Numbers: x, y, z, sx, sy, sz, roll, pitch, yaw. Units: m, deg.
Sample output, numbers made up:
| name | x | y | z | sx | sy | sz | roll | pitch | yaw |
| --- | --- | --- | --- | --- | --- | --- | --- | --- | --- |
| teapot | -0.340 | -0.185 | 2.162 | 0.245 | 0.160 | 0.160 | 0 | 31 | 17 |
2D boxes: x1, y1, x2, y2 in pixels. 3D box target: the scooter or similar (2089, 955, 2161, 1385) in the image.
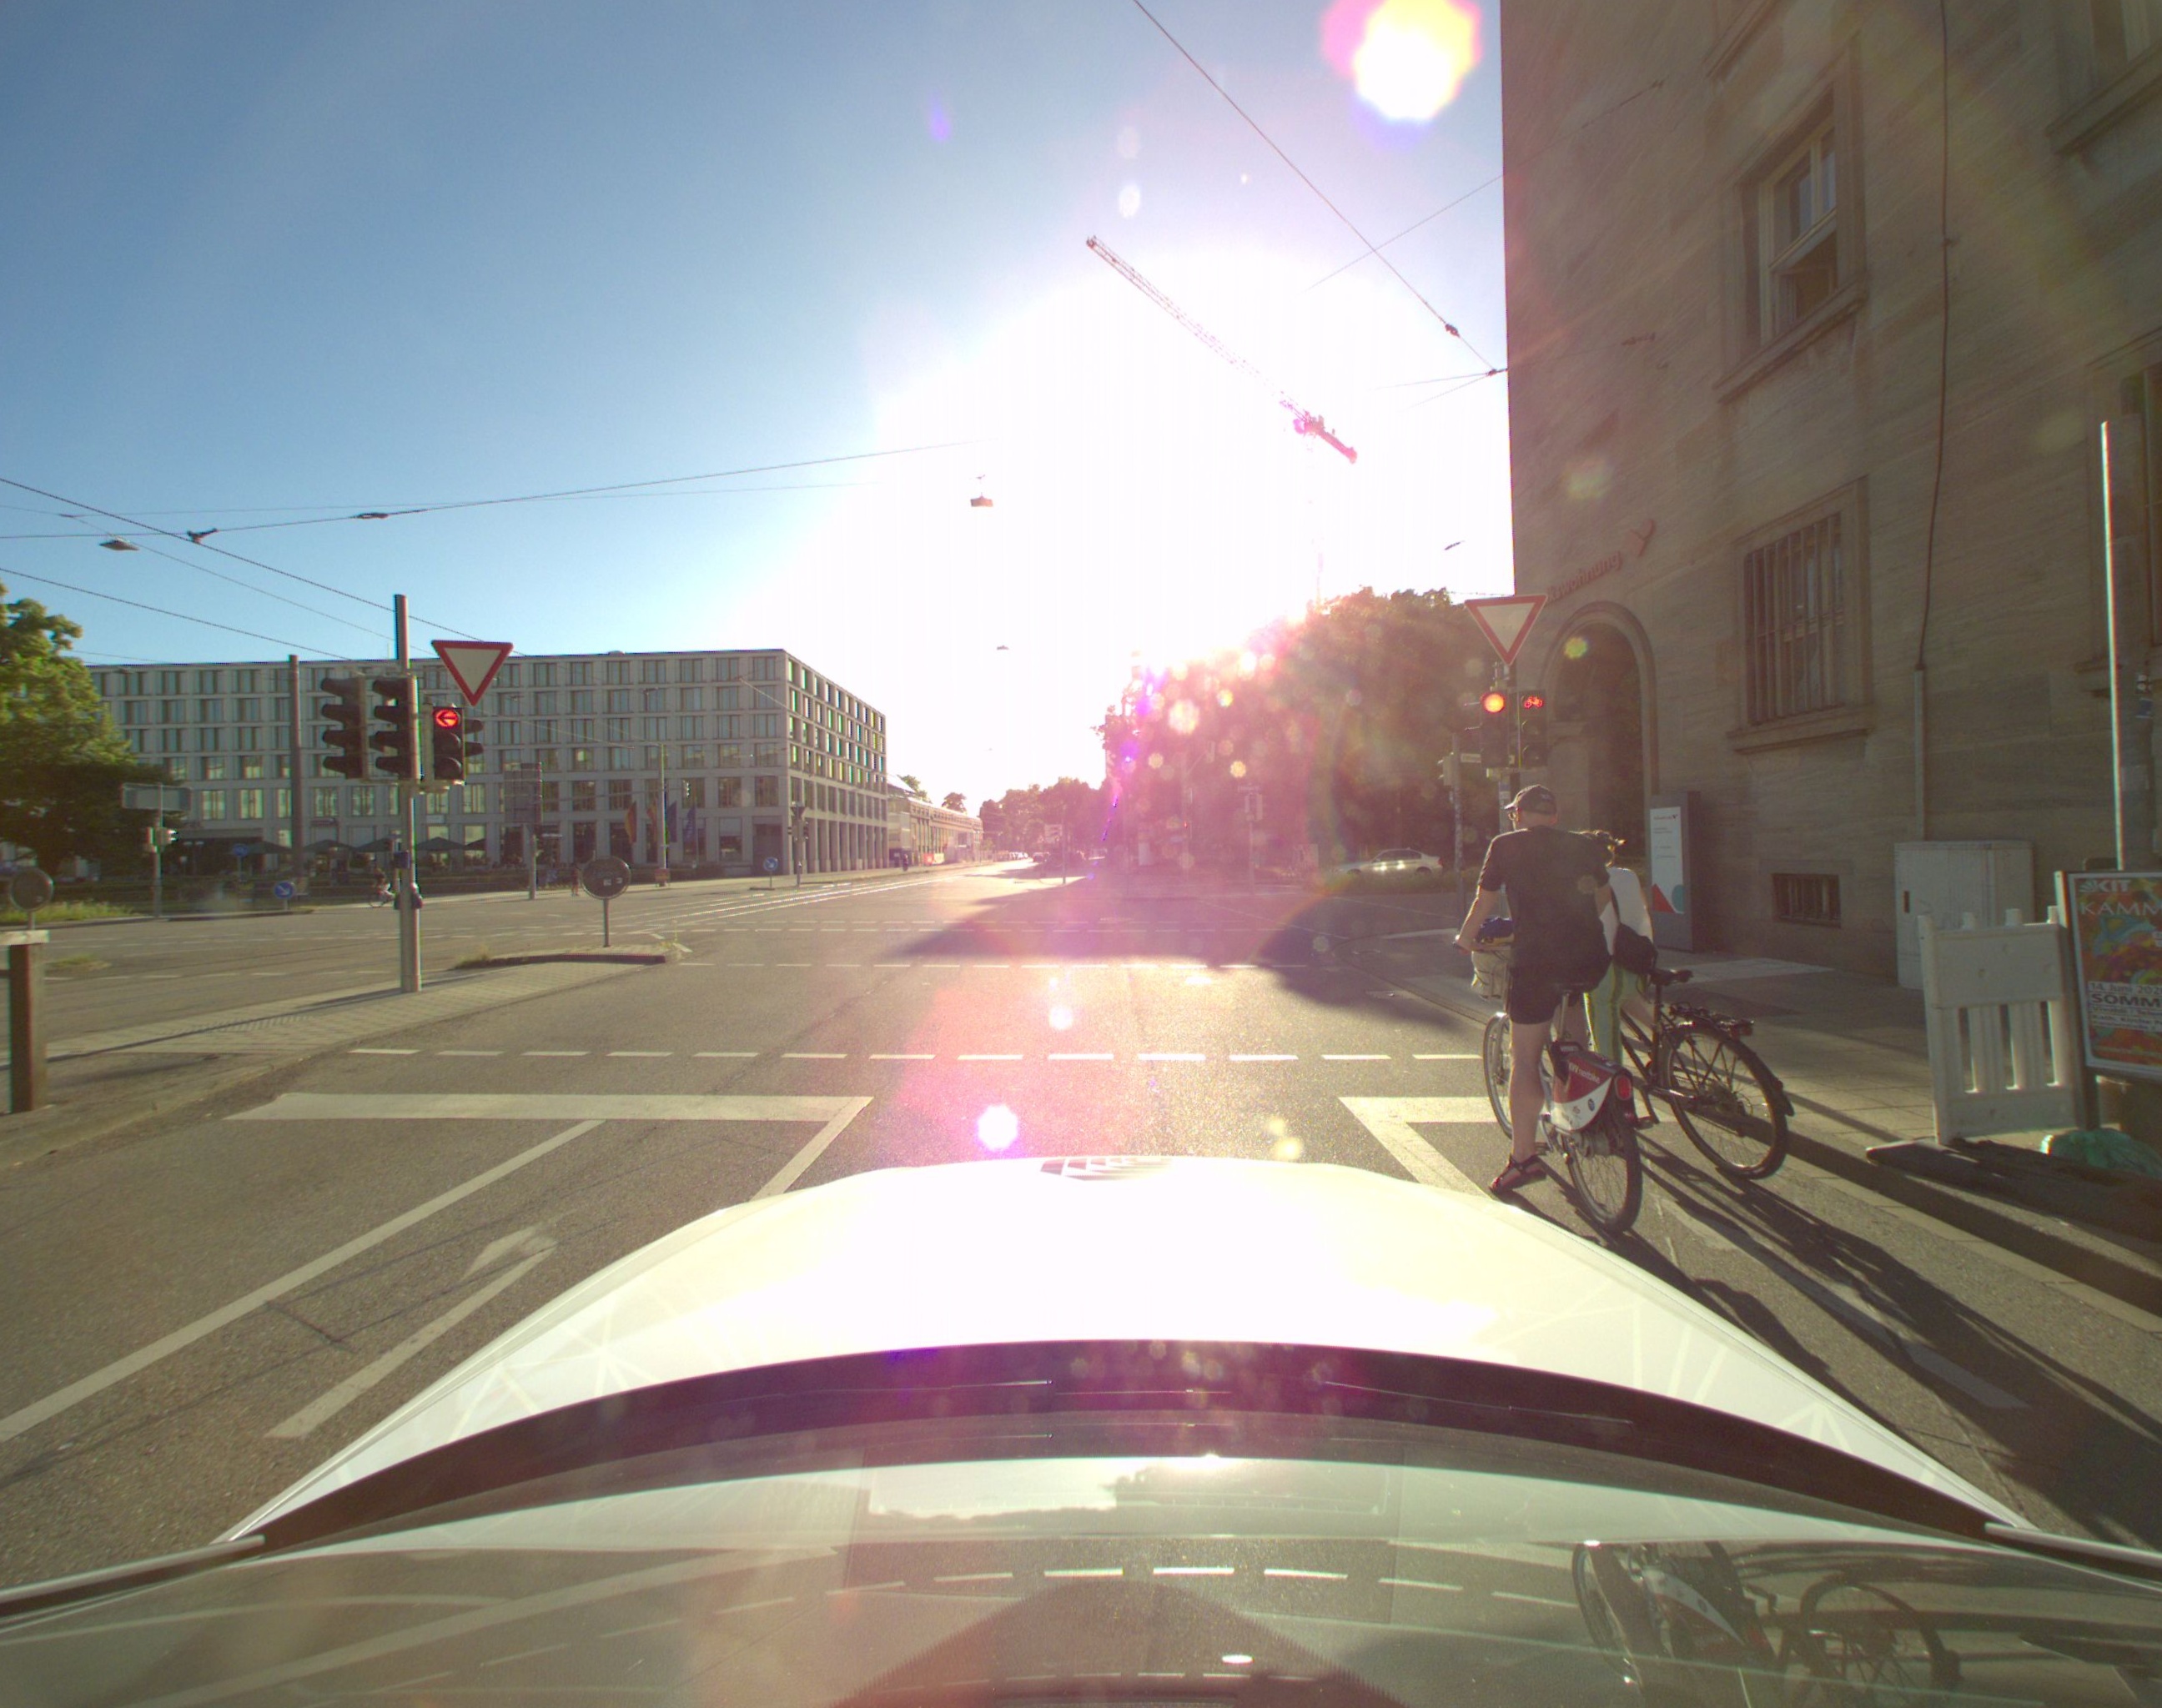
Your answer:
| name | x | y | z | sx | sy | sz | roll | pitch | yaw |
| --- | --- | --- | --- | --- | --- | --- | --- | --- | --- |
| scooter or similar | 3.279 | 0.894 | 1.763 | 0.533 | 1.185 | 1.328 | -2 | 0 | 1 |

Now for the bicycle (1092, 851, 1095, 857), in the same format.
| name | x | y | z | sx | sy | sz | roll | pitch | yaw |
| --- | --- | --- | --- | --- | --- | --- | --- | --- | --- |
| bicycle | 2.620 | -0.009 | 167.016 | 0.573 | 1.077 | 1.831 | -2 | 0 | 1 |

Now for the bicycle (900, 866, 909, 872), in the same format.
| name | x | y | z | sx | sy | sz | roll | pitch | yaw |
| --- | --- | --- | --- | --- | --- | --- | --- | --- | --- |
| bicycle | -16.035 | 1.377 | 73.831 | 0.499 | 0.515 | 1.258 | 0 | -1 | 1 |

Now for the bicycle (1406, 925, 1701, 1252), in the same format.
| name | x | y | z | sx | sy | sz | roll | pitch | yaw |
| --- | --- | --- | --- | --- | --- | --- | --- | --- | --- |
| bicycle | 2.126 | 0.960 | 3.939 | 0.513 | 1.077 | 1.729 | -1 | 0 | 4 |

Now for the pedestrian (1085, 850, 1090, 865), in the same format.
| name | x | y | z | sx | sy | sz | roll | pitch | yaw |
| --- | --- | --- | --- | --- | --- | --- | --- | --- | --- |
| pedestrian | 0.788 | 0.440 | 97.779 | 0.462 | 1.813 | 0.502 | -2 | 0 | -3 |

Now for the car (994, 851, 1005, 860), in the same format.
| name | x | y | z | sx | sy | sz | roll | pitch | yaw |
| --- | --- | --- | --- | --- | --- | --- | --- | --- | --- |
| car | -15.663 | 0.258 | 157.075 | 1.688 | 1.718 | 4.245 | 0 | -1 | -1 |

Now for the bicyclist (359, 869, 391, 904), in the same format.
| name | x | y | z | sx | sy | sz | roll | pitch | yaw |
| --- | --- | --- | --- | --- | --- | --- | --- | --- | --- |
| bicyclist | -32.789 | 1.488 | 37.827 | 0.754 | 1.589 | 0.780 | -2 | 0 | 12 |

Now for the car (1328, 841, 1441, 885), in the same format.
| name | x | y | z | sx | sy | sz | roll | pitch | yaw |
| --- | --- | --- | --- | --- | --- | --- | --- | --- | --- |
| car | 12.351 | 0.354 | 33.258 | 3.979 | 1.611 | 1.650 | -2 | 0 | 1 |

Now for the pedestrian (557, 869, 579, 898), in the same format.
| name | x | y | z | sx | sy | sz | roll | pitch | yaw |
| --- | --- | --- | --- | --- | --- | --- | --- | --- | --- |
| pedestrian | -28.712 | 1.641 | 45.582 | 0.772 | 1.589 | 0.591 | -2 | 0 | 1 |

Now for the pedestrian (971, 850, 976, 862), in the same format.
| name | x | y | z | sx | sy | sz | roll | pitch | yaw |
| --- | --- | --- | --- | --- | --- | --- | --- | --- | --- |
| pedestrian | -19.077 | 0.380 | 144.394 | 0.672 | 2.014 | 0.751 | 0 | -1 | -1 |

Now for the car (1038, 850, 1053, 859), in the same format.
| name | x | y | z | sx | sy | sz | roll | pitch | yaw |
| --- | --- | --- | --- | --- | --- | --- | --- | --- | --- |
| car | -6.296 | 0.078 | 143.402 | 1.882 | 1.565 | 4.815 | 1 | 0 | 6 |

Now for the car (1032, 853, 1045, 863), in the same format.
| name | x | y | z | sx | sy | sz | roll | pitch | yaw |
| --- | --- | --- | --- | --- | --- | --- | --- | --- | --- |
| car | -6.461 | 0.540 | 123.978 | 1.654 | 1.455 | 4.433 | -1 | 0 | 1 |

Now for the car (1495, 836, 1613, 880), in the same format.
| name | x | y | z | sx | sy | sz | roll | pitch | yaw |
| --- | --- | --- | --- | --- | --- | --- | --- | --- | --- |
| car | 19.138 | 0.148 | 33.060 | 3.835 | 1.611 | 1.650 | -2 | 0 | 1 |

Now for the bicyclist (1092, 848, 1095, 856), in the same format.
| name | x | y | z | sx | sy | sz | roll | pitch | yaw |
| --- | --- | --- | --- | --- | --- | --- | --- | --- | --- |
| bicyclist | 2.603 | -0.440 | 167.018 | 0.567 | 1.691 | 0.700 | -2 | 0 | 1 |

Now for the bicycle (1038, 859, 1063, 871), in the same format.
| name | x | y | z | sx | sy | sz | roll | pitch | yaw |
| --- | --- | --- | --- | --- | --- | --- | --- | --- | --- |
| bicycle | -2.567 | 0.905 | 67.707 | 1.996 | 0.891 | 0.655 | -4 | -1 | 29 |

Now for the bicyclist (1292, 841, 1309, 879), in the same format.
| name | x | y | z | sx | sy | sz | roll | pitch | yaw |
| --- | --- | --- | --- | --- | --- | --- | --- | --- | --- |
| bicyclist | 9.742 | 0.257 | 36.193 | 0.640 | 1.683 | 0.508 | -2 | 0 | 7 |

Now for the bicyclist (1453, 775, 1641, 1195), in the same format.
| name | x | y | z | sx | sy | sz | roll | pitch | yaw |
| --- | --- | --- | --- | --- | --- | --- | --- | --- | --- |
| bicyclist | 2.128 | 0.564 | 3.782 | 0.556 | 1.799 | 0.551 | -1 | 0 | 3 |

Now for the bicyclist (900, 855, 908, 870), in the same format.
| name | x | y | z | sx | sy | sz | roll | pitch | yaw |
| --- | --- | --- | --- | --- | --- | --- | --- | --- | --- |
| bicyclist | -16.048 | 0.791 | 73.849 | 0.594 | 1.377 | 0.638 | 0 | -1 | 1 |

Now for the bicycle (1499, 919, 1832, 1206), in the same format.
| name | x | y | z | sx | sy | sz | roll | pitch | yaw |
| --- | --- | --- | --- | --- | --- | --- | --- | --- | --- |
| bicycle | 2.948 | 0.961 | 4.356 | 0.532 | 1.077 | 1.751 | -1 | 0 | 1 |

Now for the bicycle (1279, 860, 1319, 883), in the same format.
| name | x | y | z | sx | sy | sz | roll | pitch | yaw |
| --- | --- | --- | --- | --- | --- | --- | --- | --- | --- |
| bicycle | 9.685 | 0.760 | 36.201 | 1.657 | 0.963 | 0.535 | -2 | 0 | 7 |

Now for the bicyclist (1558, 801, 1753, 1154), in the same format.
| name | x | y | z | sx | sy | sz | roll | pitch | yaw |
| --- | --- | --- | --- | --- | --- | --- | --- | --- | --- |
| bicyclist | 2.959 | 0.594 | 4.249 | 0.556 | 1.691 | 0.640 | -1 | 0 | 0 |

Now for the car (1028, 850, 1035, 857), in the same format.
| name | x | y | z | sx | sy | sz | roll | pitch | yaw |
| --- | --- | --- | --- | --- | --- | --- | --- | --- | --- |
| car | -12.885 | -0.059 | 212.267 | 1.688 | 1.718 | 4.245 | 0 | -1 | -1 |

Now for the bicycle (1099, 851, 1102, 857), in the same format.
| name | x | y | z | sx | sy | sz | roll | pitch | yaw |
| --- | --- | --- | --- | --- | --- | --- | --- | --- | --- |
| bicycle | 3.950 | -0.018 | 167.557 | 0.573 | 1.077 | 1.831 | -2 | 0 | 1 |

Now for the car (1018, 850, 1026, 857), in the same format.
| name | x | y | z | sx | sy | sz | roll | pitch | yaw |
| --- | --- | --- | --- | --- | --- | --- | --- | --- | --- |
| car | -14.234 | -0.126 | 195.325 | 1.688 | 1.718 | 4.245 | 0 | -1 | -1 |

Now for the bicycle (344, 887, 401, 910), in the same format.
| name | x | y | z | sx | sy | sz | roll | pitch | yaw |
| --- | --- | --- | --- | --- | --- | --- | --- | --- | --- |
| bicycle | -32.826 | 2.040 | 37.764 | 0.755 | 0.935 | 1.870 | -2 | 0 | 14 |
